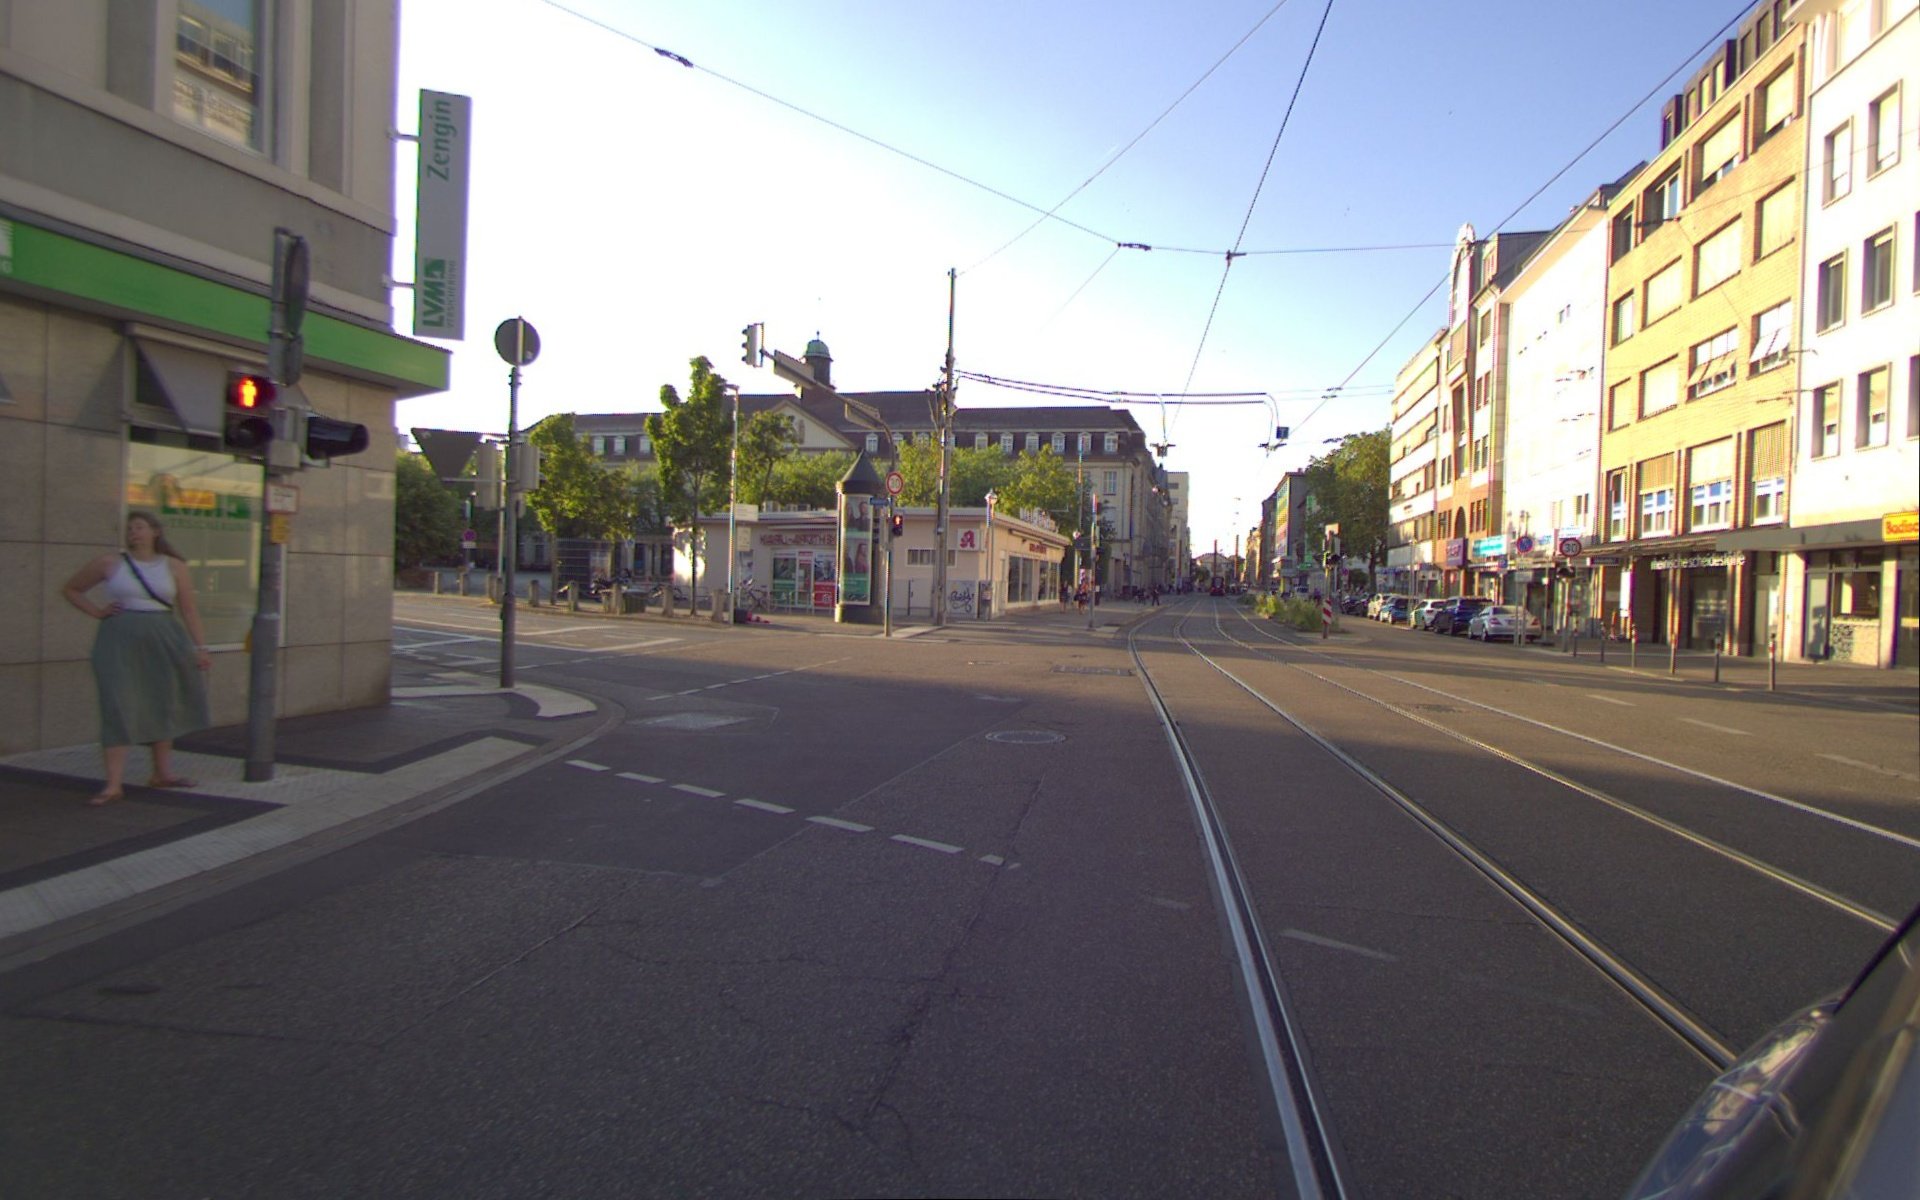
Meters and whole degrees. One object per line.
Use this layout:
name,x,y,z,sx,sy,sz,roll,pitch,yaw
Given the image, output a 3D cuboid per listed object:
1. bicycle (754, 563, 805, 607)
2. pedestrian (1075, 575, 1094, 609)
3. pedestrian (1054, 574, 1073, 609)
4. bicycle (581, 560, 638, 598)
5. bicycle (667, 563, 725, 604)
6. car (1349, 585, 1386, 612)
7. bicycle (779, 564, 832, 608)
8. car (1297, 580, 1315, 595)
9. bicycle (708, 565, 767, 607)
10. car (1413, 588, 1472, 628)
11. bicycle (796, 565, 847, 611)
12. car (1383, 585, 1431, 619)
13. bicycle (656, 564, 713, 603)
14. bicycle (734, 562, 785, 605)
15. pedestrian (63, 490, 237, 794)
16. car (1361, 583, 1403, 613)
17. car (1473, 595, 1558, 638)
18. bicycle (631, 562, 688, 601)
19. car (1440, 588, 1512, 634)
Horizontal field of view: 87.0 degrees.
bicycle,-6.577,-0.537,37.017,0.477,1.541,1.964,3,2,39
pedestrian,5.988,-0.399,48.721,0.794,1.632,0.990,1,2,14
pedestrian,4.999,-0.428,48.890,0.794,1.632,0.990,1,2,14
bicycle,-14.863,-0.880,42.964,0.679,1.541,2.195,3,2,43
bicycle,-10.354,-0.654,39.812,0.678,1.541,2.198,3,2,39
car,26.748,-0.152,66.496,1.824,1.655,3.979,2,2,17
bicycle,-5.543,-0.498,36.355,0.478,1.541,1.960,3,2,45
car,40.088,-1.492,117.324,1.824,1.655,3.979,2,2,17
bicycle,-8.368,-0.532,38.089,0.678,1.541,2.198,3,2,39
car,22.471,0.330,47.276,1.824,1.655,3.979,2,2,17
bicycle,-4.821,-0.419,35.370,0.477,1.541,1.964,3,2,38
car,24.149,0.070,54.758,1.824,1.655,3.979,2,2,17
bicycle,-11.129,-0.670,40.916,0.678,1.541,2.198,3,2,39
bicycle,-7.432,-0.596,37.598,0.477,1.541,1.964,3,2,39
pedestrian,-5.145,0.231,6.438,0.642,1.800,0.665,2,1,30
car,25.017,-0.149,60.102,1.824,1.655,3.979,2,2,17
car,19.891,0.553,36.430,1.824,1.310,3.979,2,2,17
bicycle,-12.226,-0.758,41.258,0.678,1.541,2.198,3,2,39
car,20.806,0.391,40.948,1.824,1.655,3.979,2,2,17
